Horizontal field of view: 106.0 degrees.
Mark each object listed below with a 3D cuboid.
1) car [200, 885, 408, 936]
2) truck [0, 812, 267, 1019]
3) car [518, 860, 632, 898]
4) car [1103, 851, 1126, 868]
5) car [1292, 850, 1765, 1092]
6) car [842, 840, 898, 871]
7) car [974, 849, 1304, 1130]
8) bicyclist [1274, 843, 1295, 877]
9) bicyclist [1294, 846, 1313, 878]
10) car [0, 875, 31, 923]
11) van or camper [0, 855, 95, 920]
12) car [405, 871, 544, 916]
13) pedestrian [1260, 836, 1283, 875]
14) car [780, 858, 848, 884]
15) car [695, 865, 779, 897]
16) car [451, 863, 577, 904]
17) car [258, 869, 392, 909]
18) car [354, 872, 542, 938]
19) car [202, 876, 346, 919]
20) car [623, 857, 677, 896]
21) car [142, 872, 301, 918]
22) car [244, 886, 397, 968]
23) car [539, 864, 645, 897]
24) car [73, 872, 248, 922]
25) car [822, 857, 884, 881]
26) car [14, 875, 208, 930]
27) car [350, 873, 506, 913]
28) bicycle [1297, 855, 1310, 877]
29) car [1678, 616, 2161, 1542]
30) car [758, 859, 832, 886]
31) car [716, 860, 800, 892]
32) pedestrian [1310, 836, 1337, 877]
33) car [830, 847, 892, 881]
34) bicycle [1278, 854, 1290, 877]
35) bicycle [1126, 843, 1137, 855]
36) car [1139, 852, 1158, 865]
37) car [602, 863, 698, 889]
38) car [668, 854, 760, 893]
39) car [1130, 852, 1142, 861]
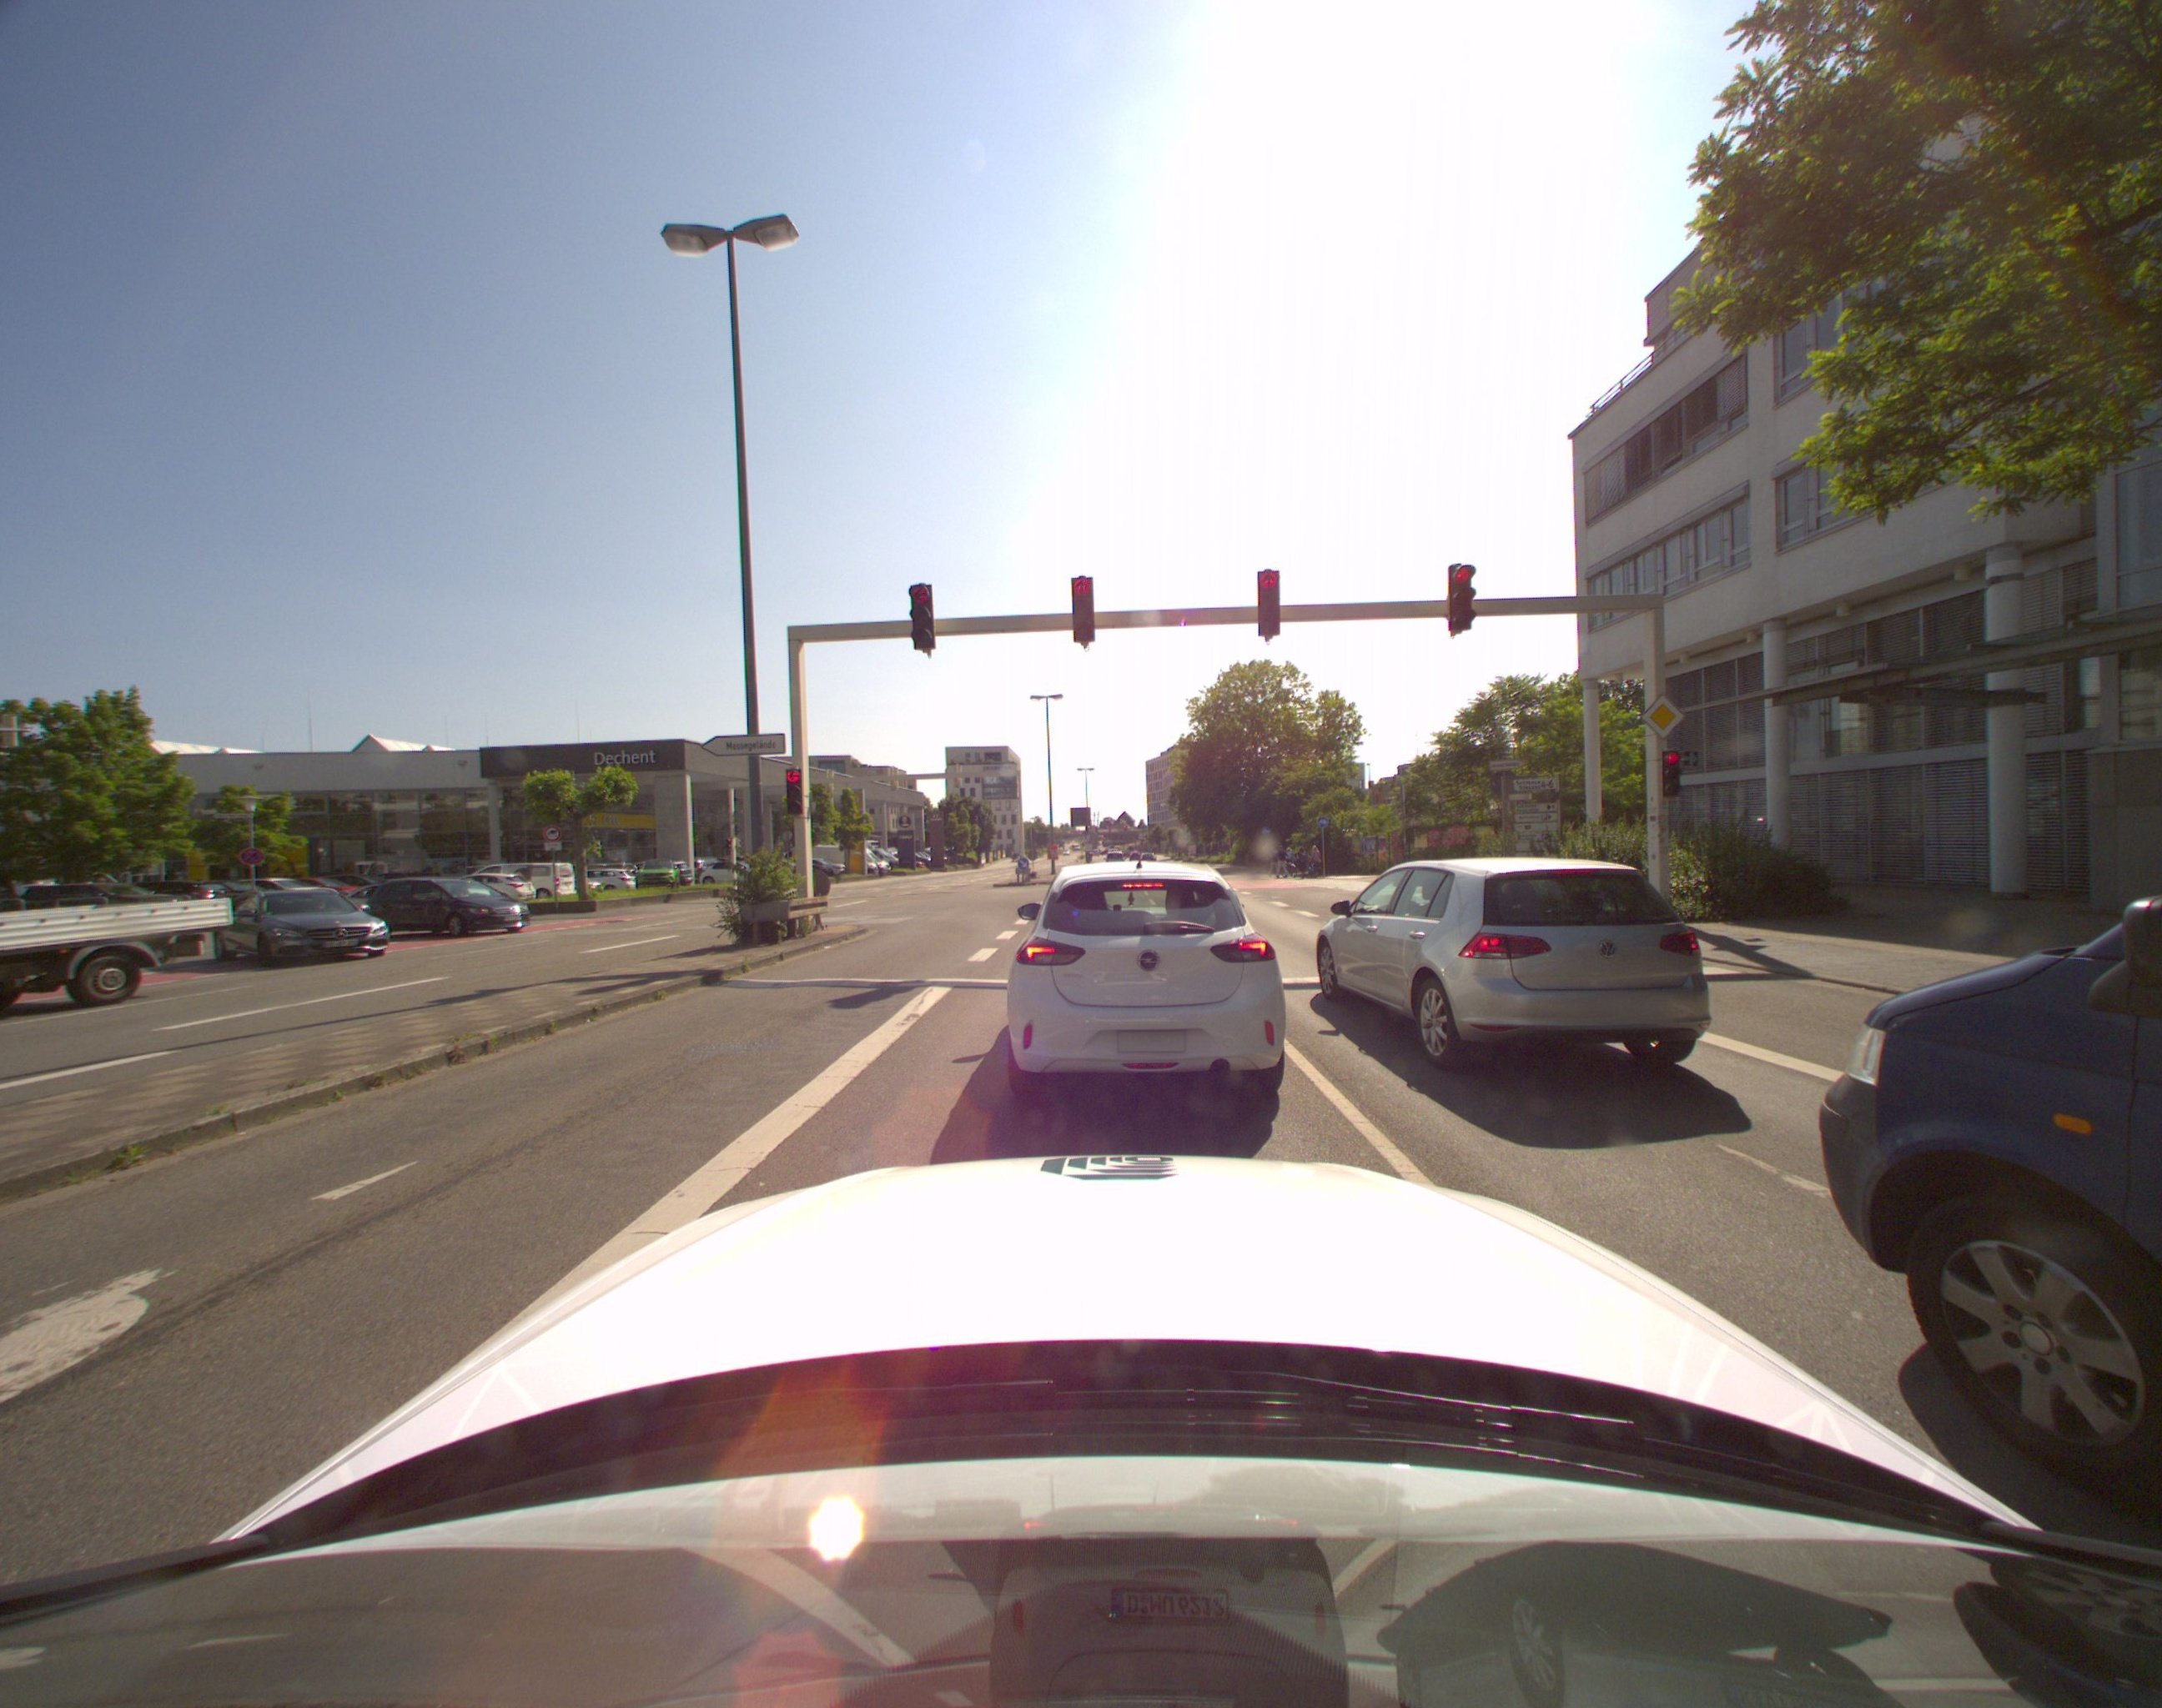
[{"bbox_3d":[-23.144,1.646,24.465,3.995,1.331,1.989,0,-1,-16],"label":"car"},{"bbox_3d":[-14.439,0.826,9.807,2.346,2.545,6.445,-4,0,4],"label":"truck"},{"bbox_3d":[-25.442,1.242,41.087,4.353,1.696,1.995,-2,0,-7],"label":"car"},{"bbox_3d":[2.843,0.498,70.148,1.800,1.386,4.000,-1,0,0],"label":"car"},{"bbox_3d":[3.293,0.731,7.034,1.802,1.429,3.998,-2,0,-1],"label":"car"},{"bbox_3d":[-19.077,0.120,73.802,4.334,2.601,2.004,-2,0,6],"label":"car"},{"bbox_3d":[0.377,0.746,6.486,1.773,1.494,4.001,-2,0,2],"label":"car"},{"bbox_3d":[11.052,0.324,44.219,0.876,1.772,0.864,-2,0,1],"label":"bicyclist"},{"bbox_3d":[11.595,0.393,42.433,0.687,1.643,0.775,-2,0,-7],"label":"bicyclist"},{"bbox_3d":[-40.598,1.688,28.455,4.371,1.696,1.987,-2,0,-20],"label":"car"},{"bbox_3d":[-41.947,1.307,31.464,4.711,2.400,1.995,-2,0,-8],"label":"van or camper"},{"bbox_3d":[-26.120,1.687,35.184,4.348,1.696,1.997,-2,0,-4],"label":"car"},{"bbox_3d":[11.096,0.069,47.464,1.023,2.238,1.039,-2,0,1],"label":"pedestrian"},{"bbox_3d":[-19.697,1.239,60.252,4.344,1.696,1.999,-2,0,-1],"label":"car"},{"bbox_3d":[-19.823,1.543,47.081,3.981,1.599,1.996,-2,0,-6],"label":"car"},{"bbox_3d":[-26.546,1.349,38.266,4.353,1.696,1.995,-2,0,-7],"label":"car"},{"bbox_3d":[-36.610,1.674,39.536,4.352,1.696,1.995,-2,0,-7],"label":"car"},{"bbox_3d":[-17.276,1.373,22.291,4.091,1.617,1.899,-2,0,14],"label":"car"},{"bbox_3d":[-36.700,1.963,37.132,4.348,1.696,1.997,-2,0,-4],"label":"car"},{"bbox_3d":[-21.244,1.126,40.072,1.915,1.733,3.258,-2,-1,-35],"label":"car"},{"bbox_3d":[-36.181,1.707,34.379,4.348,1.696,1.997,-2,0,-4],"label":"car"},{"bbox_3d":[-15.972,1.432,17.053,3.949,1.360,1.917,0,-1,41],"label":"car"},{"bbox_3d":[-26.148,1.394,43.703,4.352,1.591,1.996,-2,0,-7],"label":"car"},{"bbox_3d":[-36.193,1.679,32.116,4.348,1.696,1.997,-2,0,-4],"label":"car"},{"bbox_3d":[-18.488,1.202,66.017,4.331,1.696,2.005,-2,0,9],"label":"car"},{"bbox_3d":[-35.128,1.733,29.597,4.348,1.696,1.997,-2,0,-4],"label":"car"},{"bbox_3d":[-25.535,1.509,31.979,4.348,1.299,1.997,-2,0,-4],"label":"car"},{"bbox_3d":[11.580,0.633,42.437,0.372,1.147,1.034,0,-1,0],"label":"bicycle"},{"bbox_3d":[3.218,0.445,0.625,1.986,1.948,4.893,-2,0,2],"label":"car"},{"bbox_3d":[-19.996,1.262,57.075,4.344,1.696,1.999,-2,0,-1],"label":"car"},{"bbox_3d":[-19.647,1.307,49.696,4.284,1.765,1.999,-2,0,-1],"label":"car"},{"bbox_3d":[12.317,0.124,41.376,1.023,2.013,1.039,-2,0,1],"label":"pedestrian"},{"bbox_3d":[-18.453,0.799,68.468,4.469,2.684,2.134,-2,0,10],"label":"car"},{"bbox_3d":[11.033,0.608,44.223,0.371,1.216,1.154,0,0,2],"label":"bicycle"},{"bbox_3d":[9.612,-0.880,154.973,1.986,2.157,4.001,-2,0,1],"label":"bicycle"},{"bbox_3d":[7.176,0.476,87.290,1.799,1.386,4.001,0,-1,2],"label":"car"},{"bbox_3d":[-24.692,1.268,46.797,4.352,1.268,1.995,-3,-2,-7],"label":"car"},{"bbox_3d":[-19.249,0.998,42.893,3.859,1.837,1.999,-2,0,-1],"label":"car"},{"bbox_3d":[8.783,0.463,130.916,1.799,1.386,4.001,0,-1,2],"label":"car"}]
